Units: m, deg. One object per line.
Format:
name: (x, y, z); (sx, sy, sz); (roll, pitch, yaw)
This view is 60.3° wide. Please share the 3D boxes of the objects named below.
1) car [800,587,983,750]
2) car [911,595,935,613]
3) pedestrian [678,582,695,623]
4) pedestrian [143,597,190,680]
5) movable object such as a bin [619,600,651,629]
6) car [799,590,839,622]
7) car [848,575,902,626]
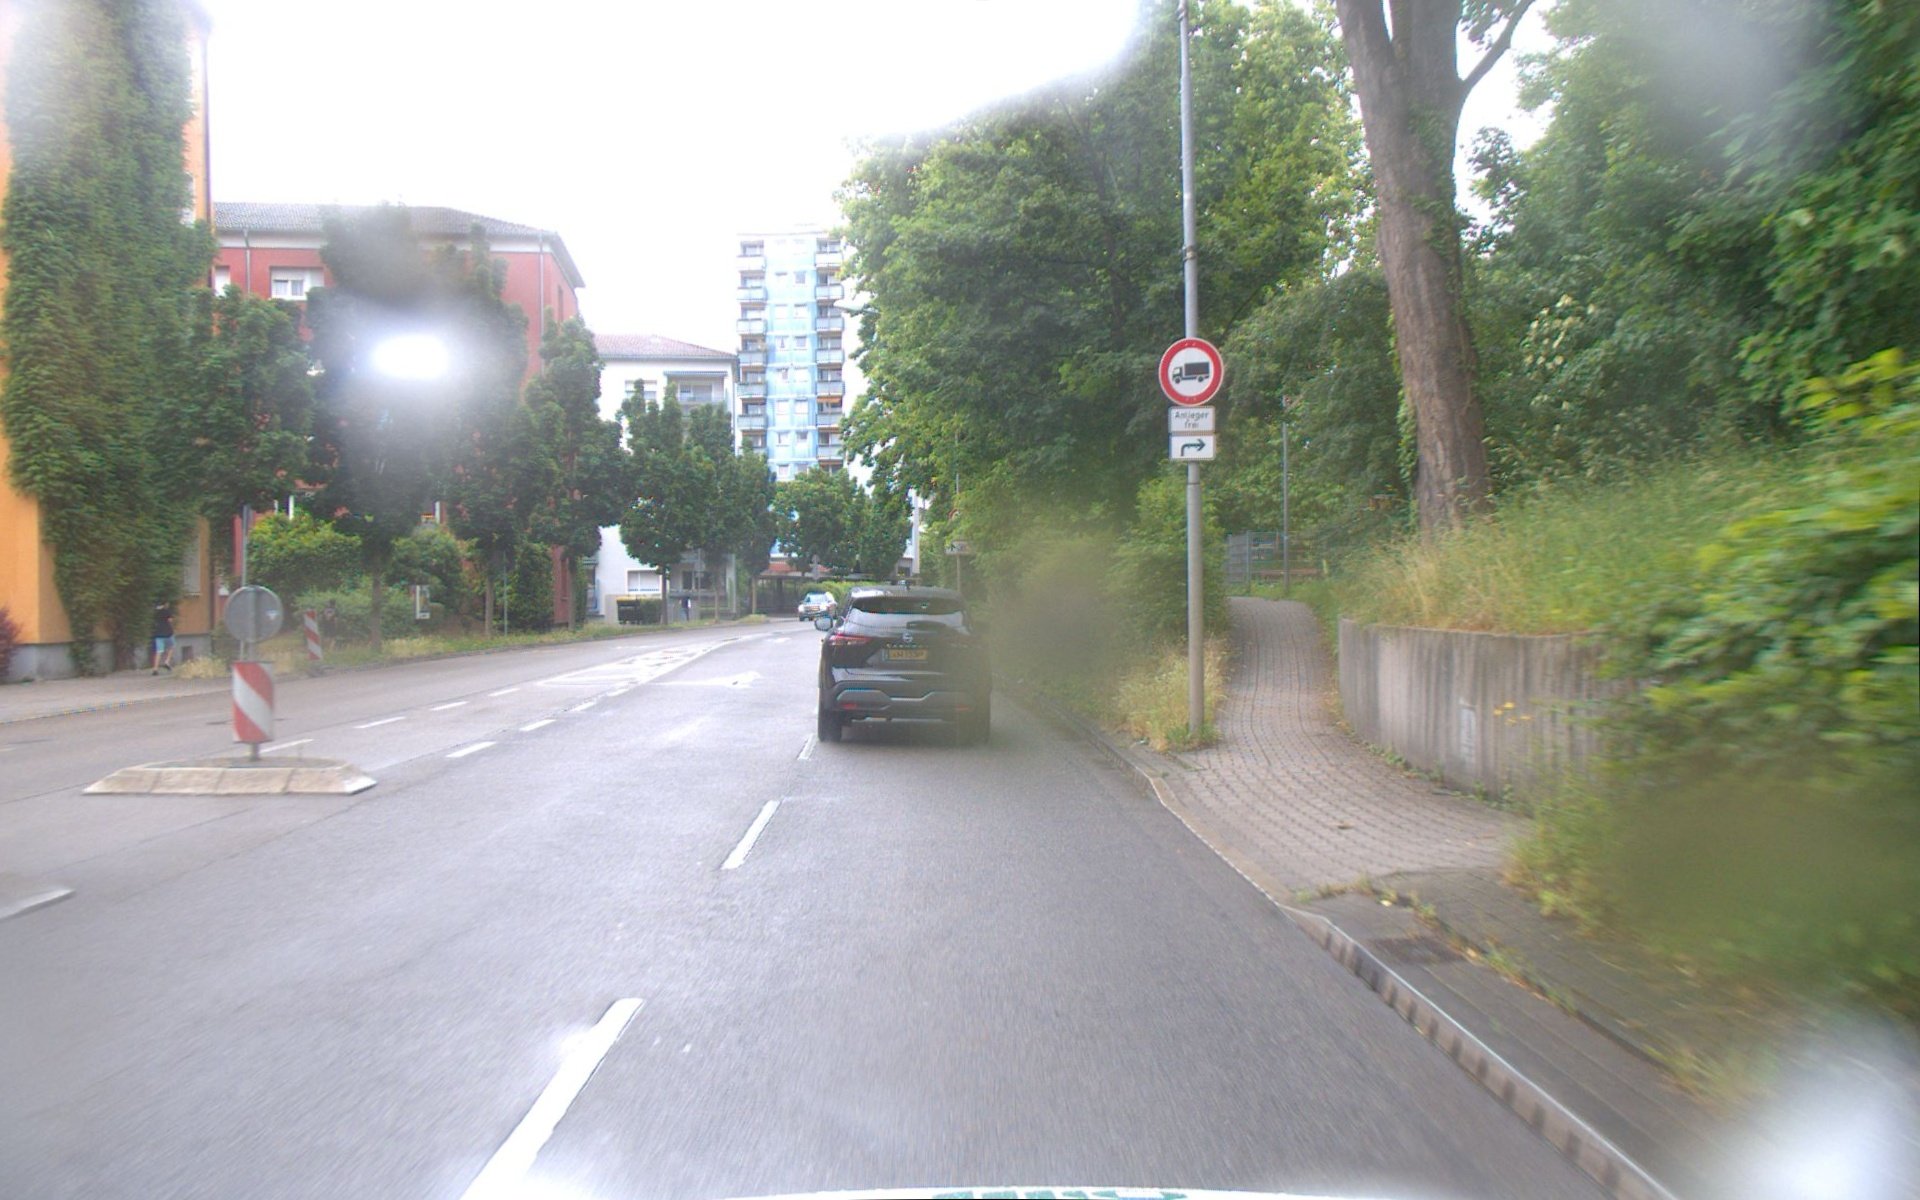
car: (-0.784, 0.677, 18.408); (1.808, 1.610, 3.997); (0, 0, -3)
car: (-2.780, 0.293, 125.547); (1.468, 1.372, 3.362); (-1, 0, 5)
pedestrian: (-14.067, 0.126, 85.113); (0.701, 2.049, 0.950); (-1, 0, -1)
pedestrian: (-15.893, 0.766, 33.133); (0.574, 1.632, 0.661); (-2, 0, -1)
movable object such as a bin: (-16.042, 0.704, 81.710); (1.294, 1.385, 1.258); (-1, 0, -1)
car: (-8.610, 0.375, 101.281); (1.761, 1.873, 4.002); (-1, 0, 5)
car: (-3.012, 0.035, 58.892); (1.849, 1.741, 3.998); (0, 0, -3)
